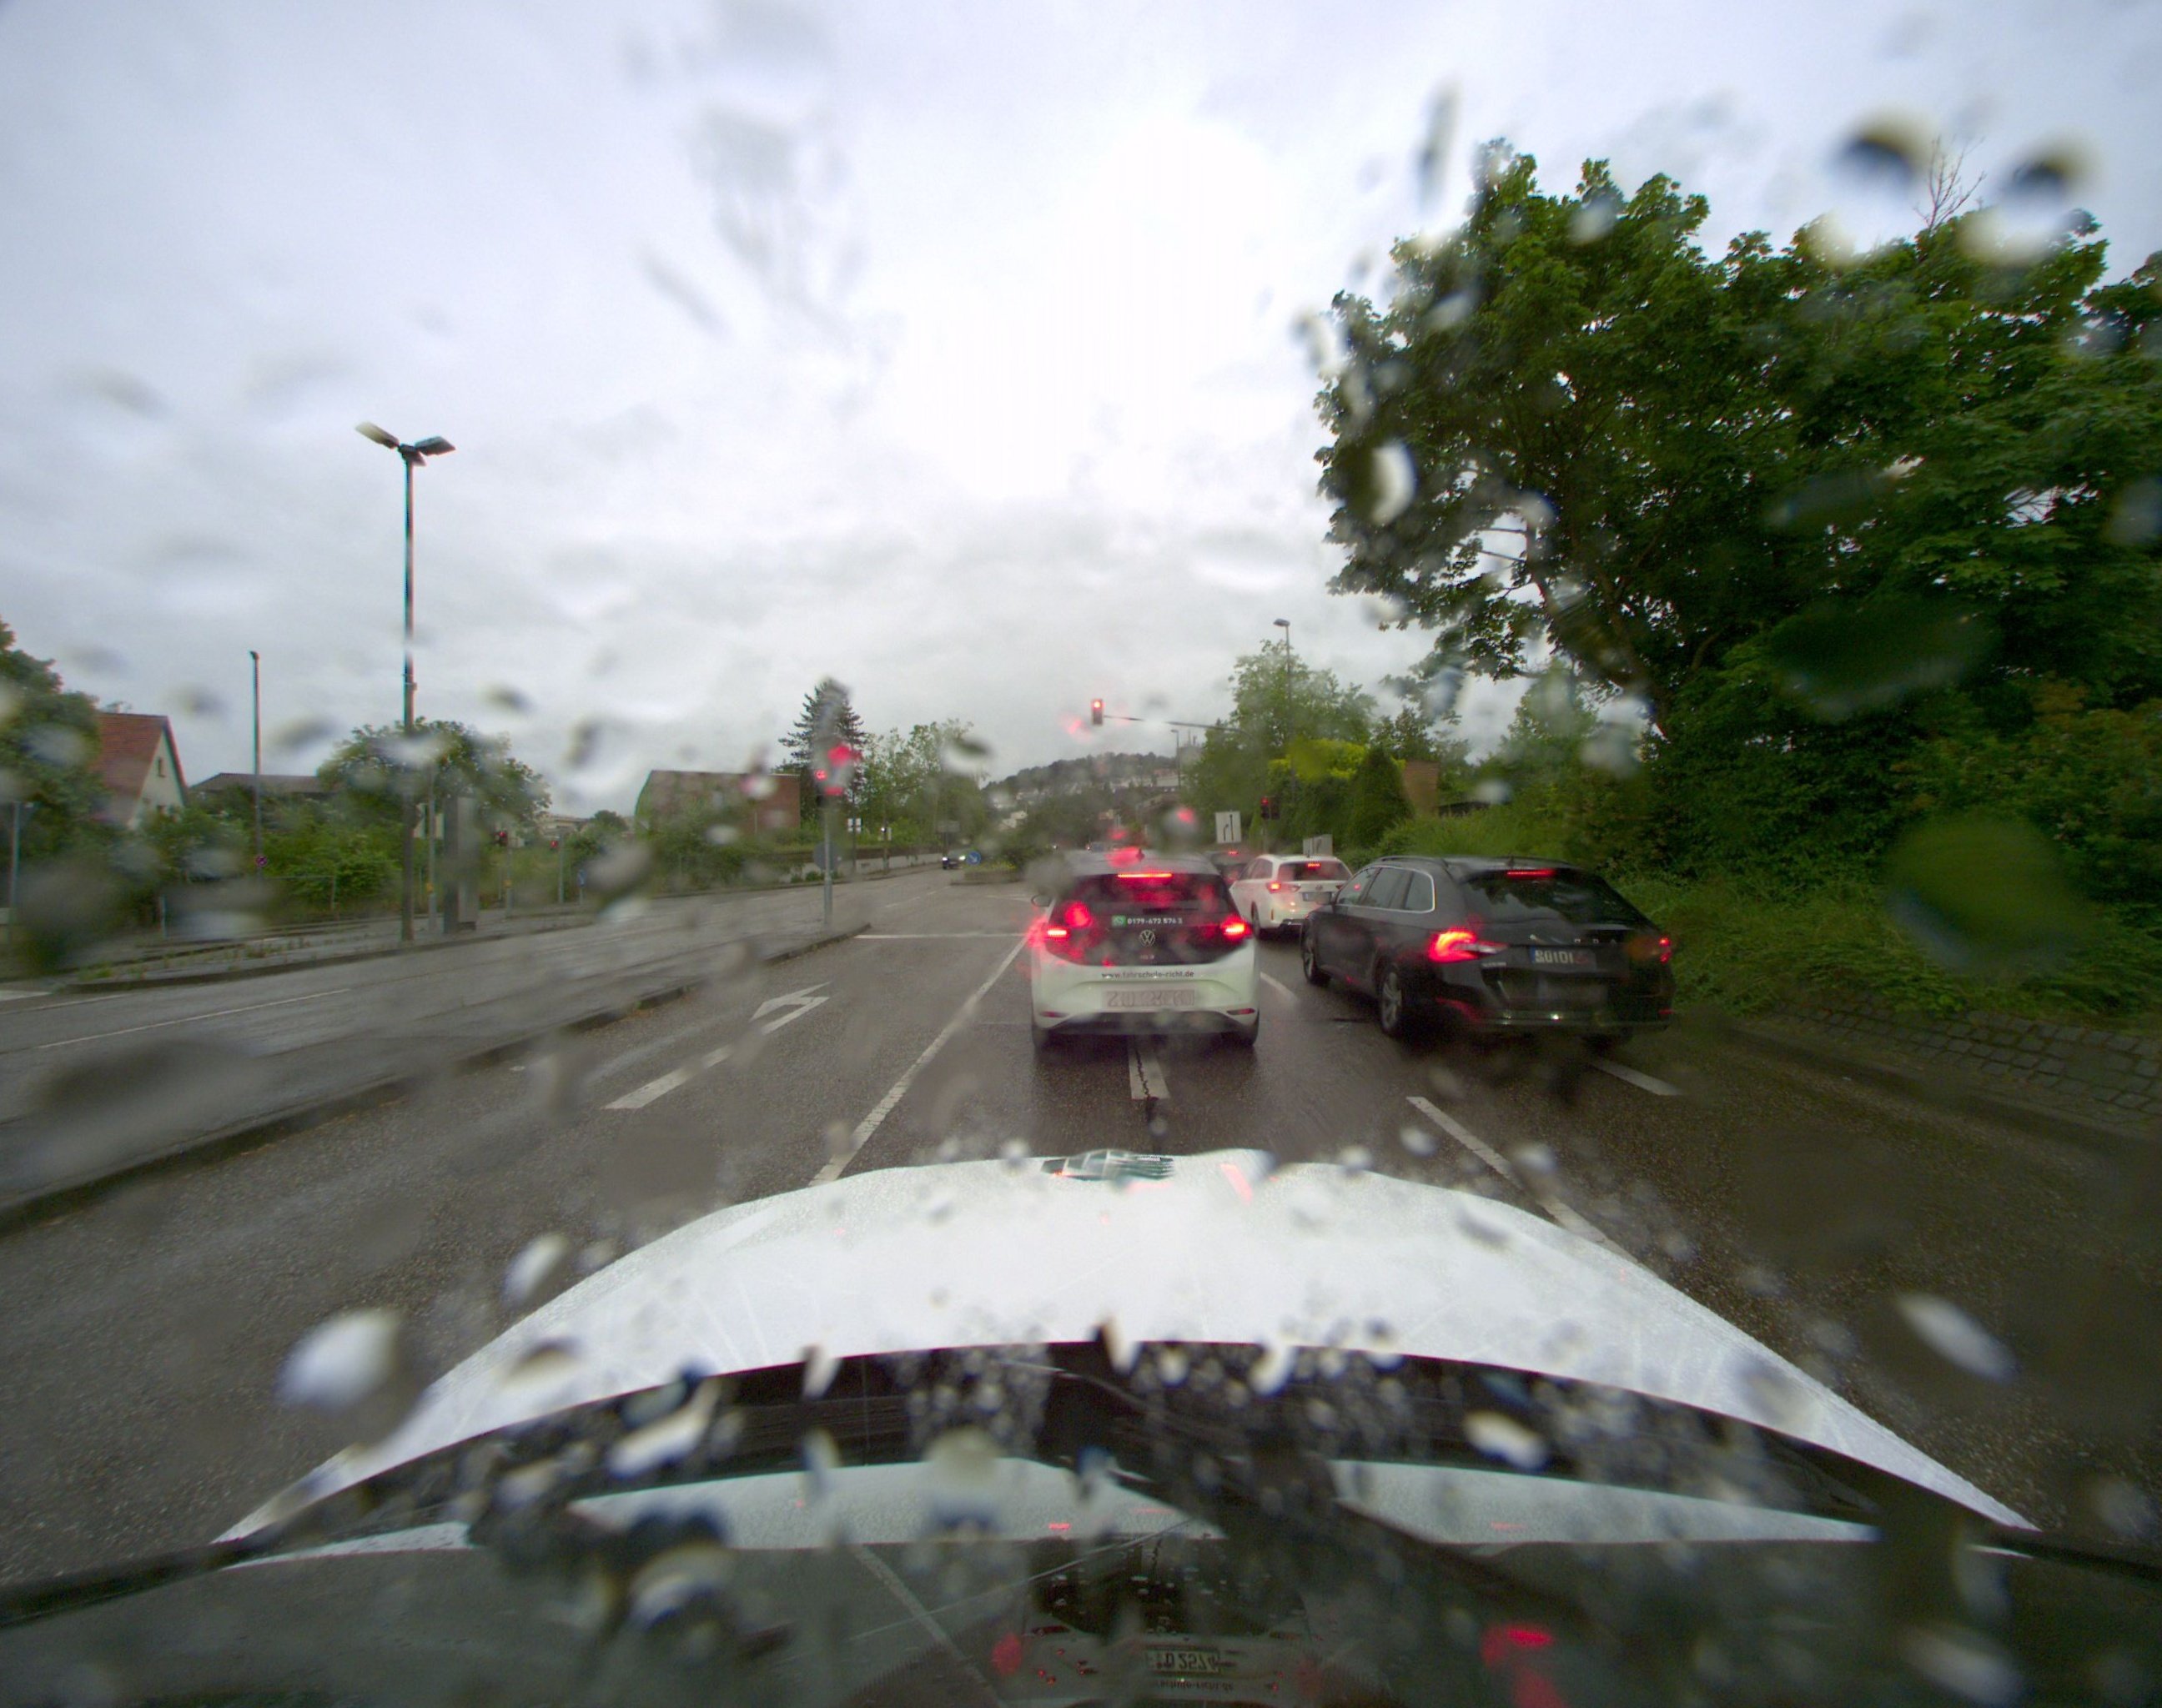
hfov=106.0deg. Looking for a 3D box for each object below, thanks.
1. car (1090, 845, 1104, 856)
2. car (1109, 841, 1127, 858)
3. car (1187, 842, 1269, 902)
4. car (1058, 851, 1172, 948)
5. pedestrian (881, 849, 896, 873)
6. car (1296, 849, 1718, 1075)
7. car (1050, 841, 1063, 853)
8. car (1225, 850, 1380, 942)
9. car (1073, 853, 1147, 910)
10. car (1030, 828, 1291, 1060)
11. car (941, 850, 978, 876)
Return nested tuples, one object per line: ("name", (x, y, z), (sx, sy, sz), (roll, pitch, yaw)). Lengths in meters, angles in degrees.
("car", (2.185, -0.503, 113.068), (1.755, 1.418, 3.748), (-3, 0, 0))
("car", (3.637, -0.431, 80.195), (1.575, 1.467, 4.000), (-3, -1, 1))
("car", (4.135, 0.477, 23.428), (1.769, 1.581, 4.002), (0, 0, 2))
("car", (0.595, 0.723, 15.220), (1.831, 1.555, 4.176), (0, 0, 1))
("pedestrian", (-13.174, 0.475, 55.745), (0.757, 1.568, 0.825), (-4, 0, 1))
("car", (3.357, 0.691, 7.506), (1.830, 1.466, 4.353), (0, 0, 3))
("car", (-4.221, -1.244, 140.552), (1.986, 2.014, 4.002), (-1, -1, 2))
("car", (3.873, 0.653, 14.972), (1.831, 1.466, 4.118), (0, 0, 1))
("car", (0.762, 0.673, 22.098), (1.831, 1.400, 3.832), (0, 0, 1))
("car", (0.611, 0.615, 8.029), (1.831, 1.629, 4.617), (0, 0, 1))
("car", (-9.440, 0.662, 63.500), (1.986, 1.804, 4.002), (-4, 0, 2))
